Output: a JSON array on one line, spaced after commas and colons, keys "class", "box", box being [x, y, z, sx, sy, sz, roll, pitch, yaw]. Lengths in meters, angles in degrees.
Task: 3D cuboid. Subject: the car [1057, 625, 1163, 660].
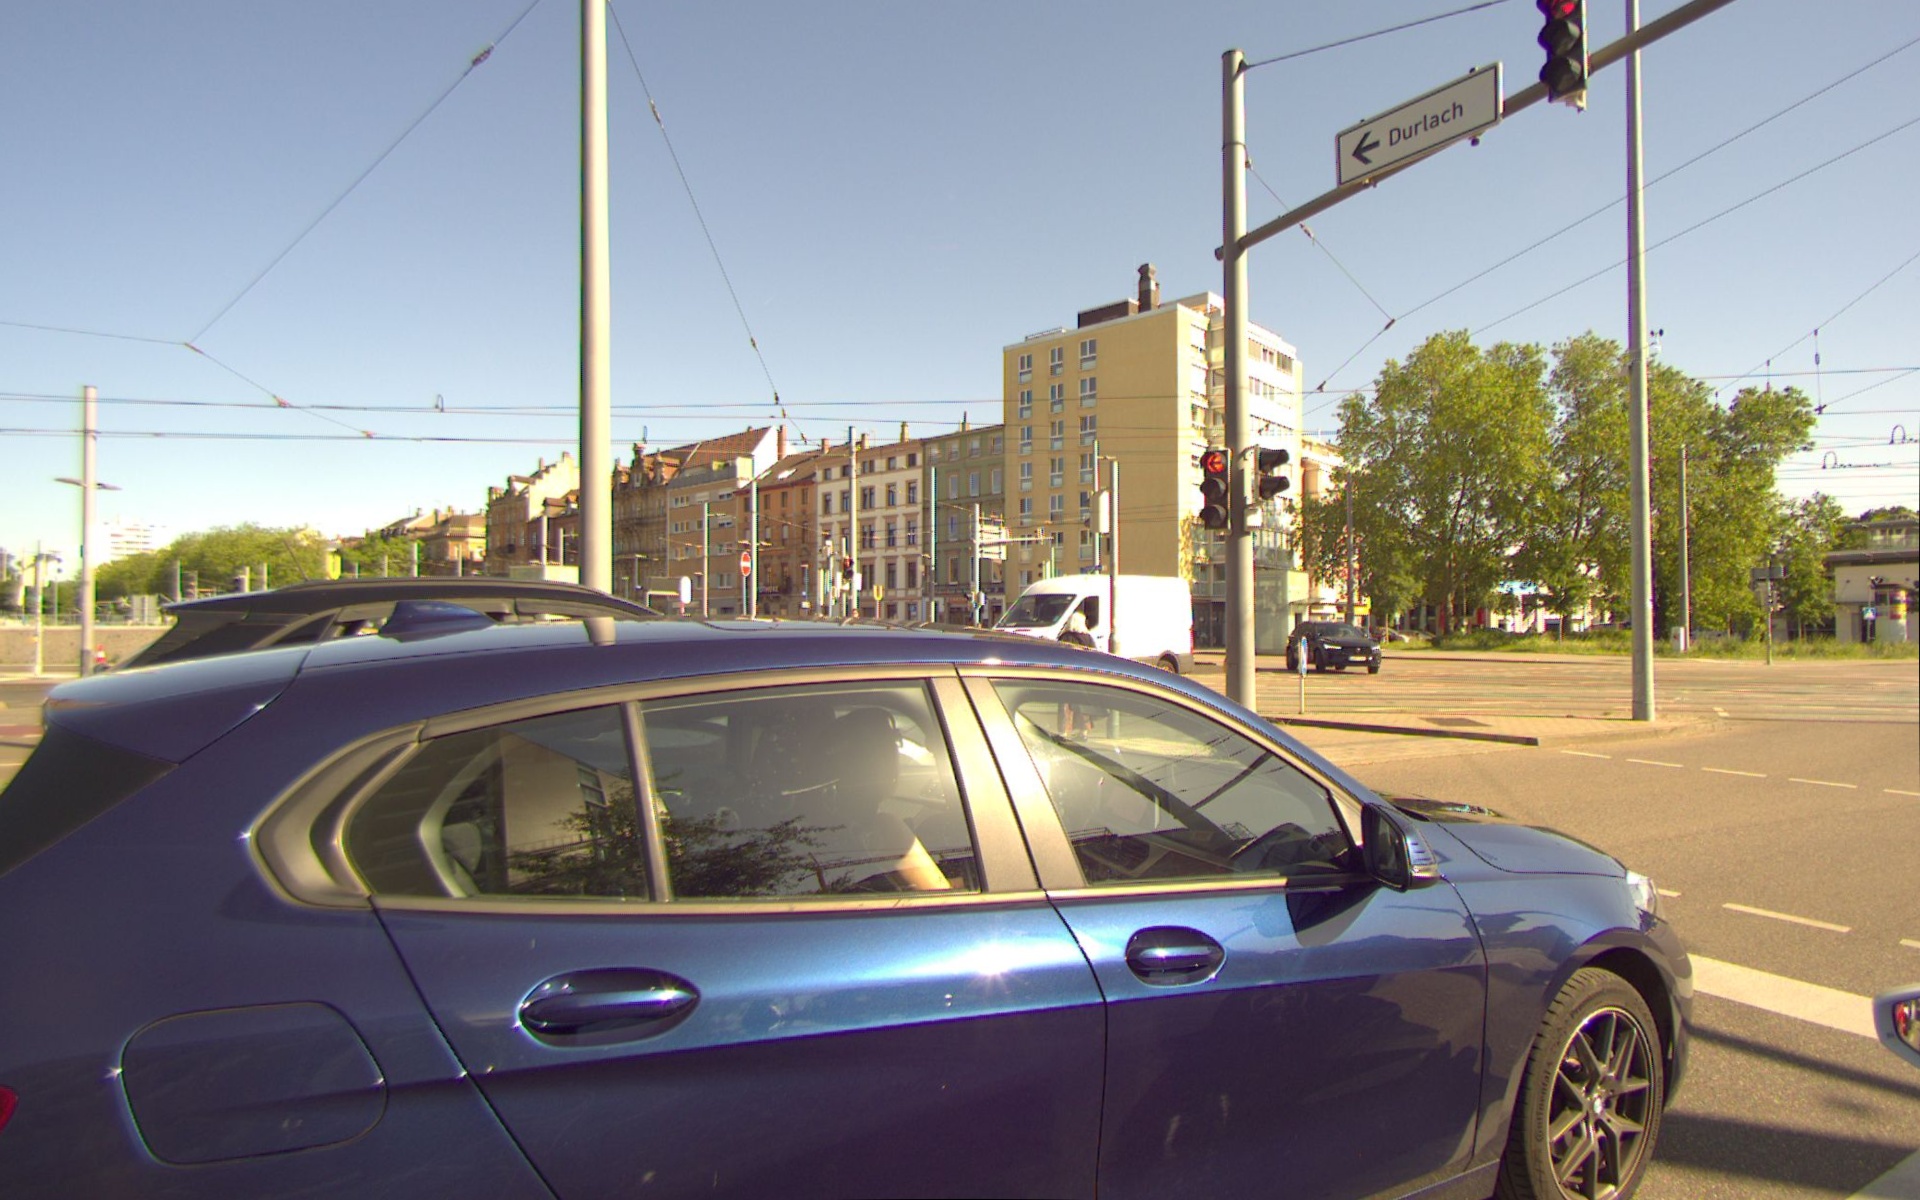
[{"class": "car", "box": [6.750, 1.889, 45.455, 4.505, 1.521, 1.854, -1, -2, 44]}]

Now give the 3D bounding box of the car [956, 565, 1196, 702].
[{"class": "car", "box": [2.568, 0.697, 21.159, 5.377, 2.541, 1.976, 1, -2, -41]}]

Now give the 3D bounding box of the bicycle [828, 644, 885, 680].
[{"class": "bicycle", "box": [-2.735, 1.615, 26.399, 0.672, 0.890, 1.880, 1, -2, -35]}]

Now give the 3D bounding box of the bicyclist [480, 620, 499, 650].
[{"class": "bicyclist", "box": [-23.040, 1.722, 49.182, 0.673, 1.474, 0.775, 1, -2, -42]}]

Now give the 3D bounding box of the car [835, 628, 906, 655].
[{"class": "car", "box": [-4.989, 2.273, 55.769, 4.121, 1.457, 1.717, -1, -2, 45]}]

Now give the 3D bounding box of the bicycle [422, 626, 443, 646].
[{"class": "bicycle", "box": [-30.762, 2.091, 58.586, 0.673, 1.120, 1.875, 1, -2, -42]}]

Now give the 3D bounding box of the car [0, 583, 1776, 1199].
[{"class": "car", "box": [0.114, 0.747, 2.532, 3.984, 1.464, 1.703, 1, 0, -30]}]

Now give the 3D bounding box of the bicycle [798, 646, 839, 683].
[{"class": "bicycle", "box": [-3.697, 1.666, 26.179, 0.668, 0.890, 1.889, 1, -2, -21]}]

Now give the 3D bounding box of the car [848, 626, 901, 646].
[{"class": "car", "box": [-6.296, 2.667, 74.431, 1.749, 1.446, 3.863, -1, -2, 39]}]

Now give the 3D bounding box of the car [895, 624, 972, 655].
[{"class": "car", "box": [-1.539, 2.198, 56.408, 4.246, 1.675, 1.848, -1, -2, 42]}]

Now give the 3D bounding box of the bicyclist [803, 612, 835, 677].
[{"class": "bicyclist", "box": [-3.685, 1.151, 26.205, 0.668, 1.676, 0.781, 0, -1, -22]}]

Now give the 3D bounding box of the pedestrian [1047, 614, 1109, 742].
[{"class": "pedestrian", "box": [1.474, 0.968, 12.623, 0.746, 1.575, 0.357, 0, -1, 1]}]

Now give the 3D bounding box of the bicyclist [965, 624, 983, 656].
[{"class": "bicyclist", "box": [0.644, 1.853, 46.283, 0.609, 1.462, 0.614, 1, -1, -30]}]

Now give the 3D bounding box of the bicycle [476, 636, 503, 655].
[{"class": "bicycle", "box": [-23.035, 2.227, 49.162, 0.673, 0.890, 1.876, 1, -2, -41]}]

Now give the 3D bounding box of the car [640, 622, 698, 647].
[{"class": "car", "box": [-20.090, 2.400, 69.374, 4.245, 1.675, 1.849, -2, -3, 41]}]

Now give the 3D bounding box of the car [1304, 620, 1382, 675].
[{"class": "car", "box": [12.461, 1.511, 32.895, 1.832, 1.681, 4.075, 0, -2, 13]}]

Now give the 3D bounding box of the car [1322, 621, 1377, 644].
[{"class": "car", "box": [29.894, 2.476, 77.144, 3.691, 1.684, 1.586, -1, -2, 42]}]

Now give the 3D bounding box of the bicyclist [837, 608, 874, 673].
[{"class": "bicyclist", "box": [-2.762, 1.064, 26.467, 0.672, 1.676, 0.777, 1, -1, -35]}]

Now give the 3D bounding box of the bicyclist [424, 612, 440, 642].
[{"class": "bicyclist", "box": [-30.786, 1.590, 58.526, 0.673, 1.735, 0.610, 1, -2, -42]}]

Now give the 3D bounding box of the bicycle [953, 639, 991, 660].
[{"class": "bicycle", "box": [0.556, 2.260, 46.217, 1.666, 0.958, 0.614, 1, -2, -30]}]

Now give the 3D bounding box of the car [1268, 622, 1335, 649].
[{"class": "car", "box": [21.604, 2.230, 63.635, 3.691, 1.684, 1.586, -1, -2, 42]}]

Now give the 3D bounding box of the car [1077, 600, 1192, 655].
[{"class": "car", "box": [9.247, 1.467, 53.702, 5.838, 2.780, 2.133, -1, -2, 42]}]

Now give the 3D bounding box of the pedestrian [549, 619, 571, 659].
[{"class": "pedestrian", "box": [-17.336, 1.689, 43.524, 0.672, 1.735, 0.793, 1, -1, -38]}]

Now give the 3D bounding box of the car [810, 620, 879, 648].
[{"class": "car", "box": [-7.175, 2.079, 62.056, 4.244, 1.675, 1.849, -1, -2, 40]}]

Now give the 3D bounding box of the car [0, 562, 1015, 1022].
[{"class": "car", "box": [-1.862, 0.677, 5.070, 3.959, 1.537, 1.751, 1, -1, -28]}]

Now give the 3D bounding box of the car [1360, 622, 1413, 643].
[{"class": "car", "box": [34.879, 2.612, 82.179, 3.691, 1.684, 1.586, -1, -2, 42]}]

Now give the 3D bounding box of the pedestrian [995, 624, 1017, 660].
[{"class": "pedestrian", "box": [2.054, 1.893, 45.247, 0.669, 1.593, 0.740, 1, -2, -45]}]

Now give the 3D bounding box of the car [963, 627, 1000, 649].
[{"class": "car", "box": [1.384, 2.505, 66.996, 1.745, 1.446, 3.873, 0, -2, -10]}]
